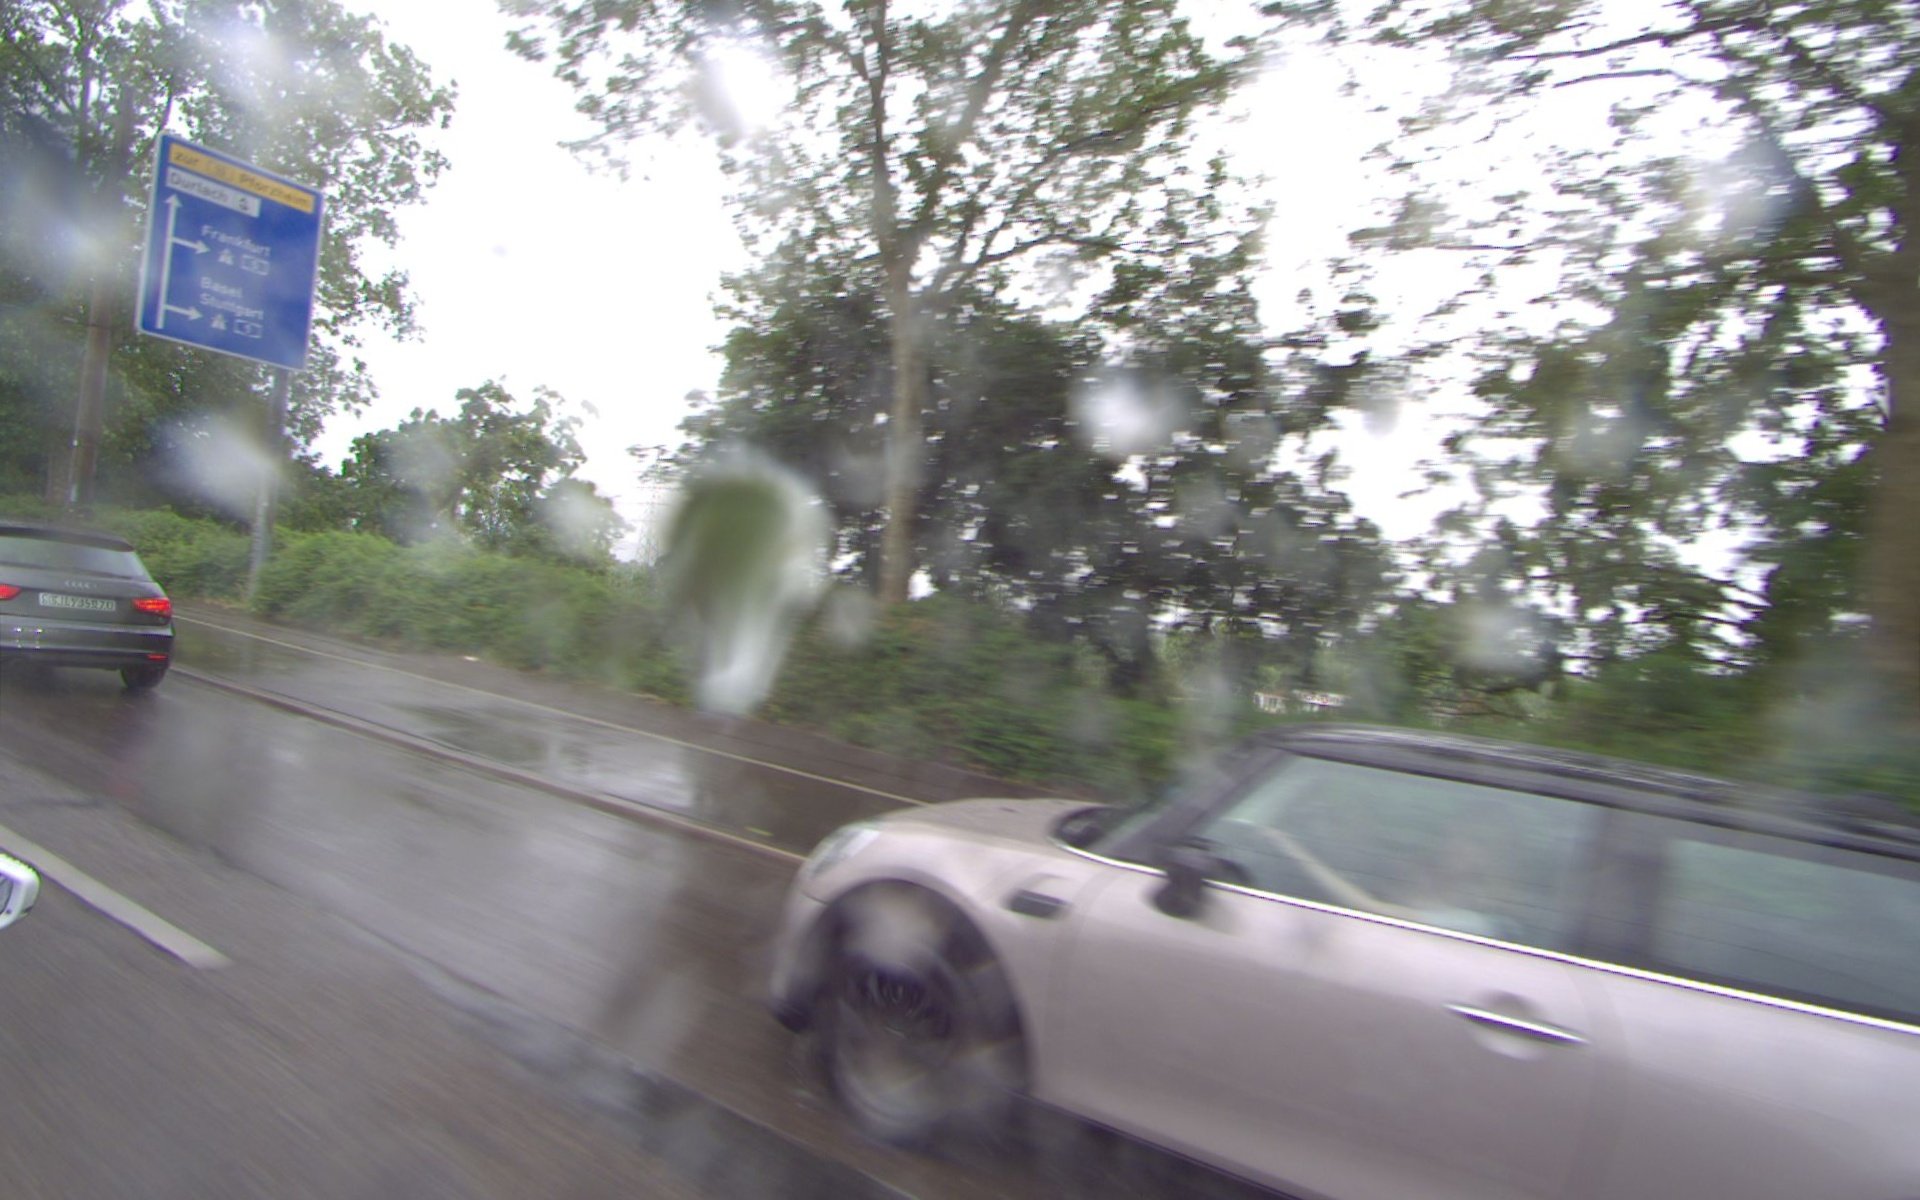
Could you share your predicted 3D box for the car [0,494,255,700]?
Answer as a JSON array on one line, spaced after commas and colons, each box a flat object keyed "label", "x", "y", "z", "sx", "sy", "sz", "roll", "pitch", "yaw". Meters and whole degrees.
[{"label": "car", "x": -8.760, "y": -0.171, "z": 9.403, "sx": 3.923, "sy": 1.546, "sz": 1.972, "roll": 8, "pitch": -2, "yaw": 30}]

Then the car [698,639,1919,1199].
[{"label": "car", "x": 1.306, "y": 1.119, "z": 3.108, "sx": 3.789, "sy": 1.429, "sz": 1.797, "roll": 6, "pitch": -4, "yaw": 30}]
